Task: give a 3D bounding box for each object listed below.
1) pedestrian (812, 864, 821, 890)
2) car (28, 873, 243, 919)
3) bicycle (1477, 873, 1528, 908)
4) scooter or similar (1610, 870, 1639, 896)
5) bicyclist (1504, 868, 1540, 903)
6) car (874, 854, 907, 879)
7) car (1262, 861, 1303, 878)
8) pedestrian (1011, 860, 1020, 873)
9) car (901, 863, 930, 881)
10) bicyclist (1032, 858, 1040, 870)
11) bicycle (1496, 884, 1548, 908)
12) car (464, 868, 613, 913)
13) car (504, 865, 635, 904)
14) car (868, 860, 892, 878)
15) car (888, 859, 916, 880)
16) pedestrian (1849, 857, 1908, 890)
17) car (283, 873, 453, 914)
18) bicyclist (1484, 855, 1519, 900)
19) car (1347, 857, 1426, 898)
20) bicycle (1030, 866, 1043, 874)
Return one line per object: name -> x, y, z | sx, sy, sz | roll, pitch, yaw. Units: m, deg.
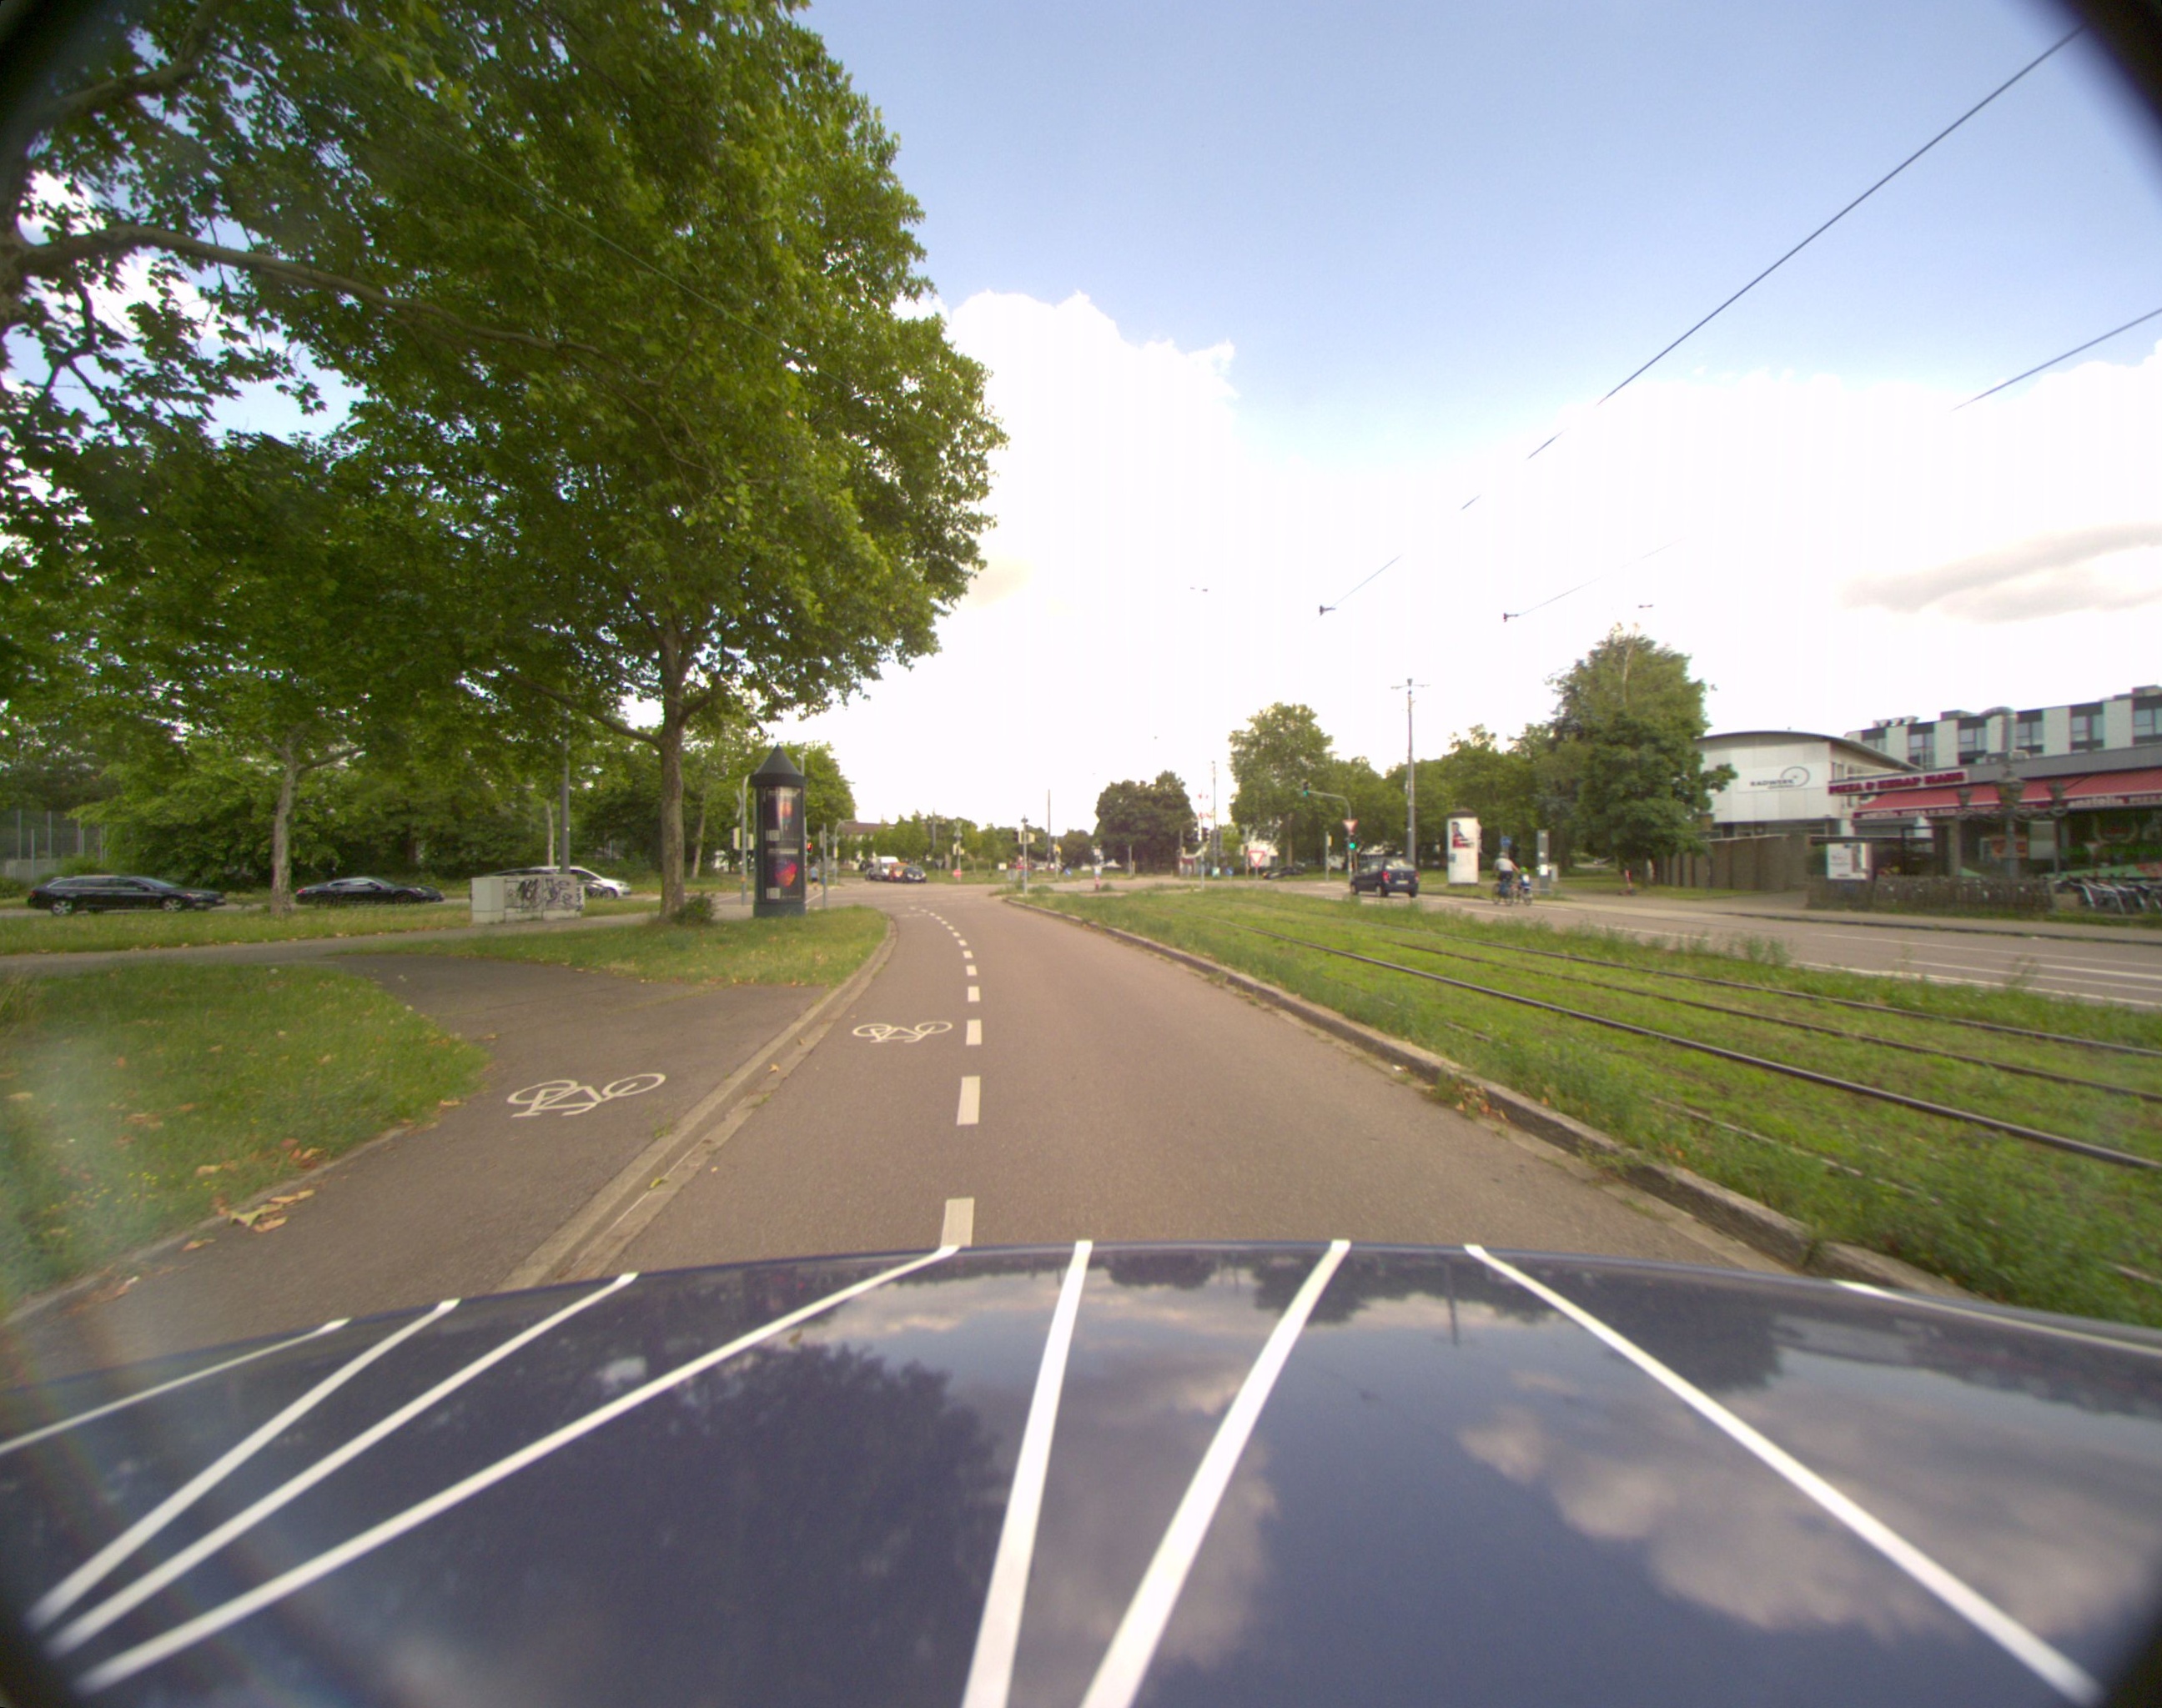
pedestrian -> -15.738, 1.357, 45.230 | 0.420, 1.499, 0.450 | -1, 0, -26
car -> -35.705, 1.527, 28.899 | 4.693, 1.504, 1.996 | 0, 1, -26
bicycle -> 13.995, 1.187, 25.283 | 0.647, 1.073, 1.804 | 0, 0, -2
scooter or similar -> 22.476, 1.189, 31.431 | 0.427, 1.027, 1.223 | -1, 0, 5
bicyclist -> 14.685, 1.037, 25.327 | 0.641, 1.106, 0.928 | 0, 0, -2
car -> -20.090, 1.267, 79.959 | 2.243, 2.492, 5.714 | -1, 0, -25
car -> 19.160, 1.488, 72.279 | 3.864, 1.514, 1.695 | 0, 0, -37
pedestrian -> -8.923, 1.696, 103.989 | 0.909, 1.856, 1.000 | -1, 0, -27
car -> -14.942, 1.634, 68.433 | 1.798, 1.530, 3.992 | -1, 0, -23
bicyclist -> -5.949, 1.324, 100.287 | 0.806, 1.461, 0.830 | -1, -2, -29
bicycle -> 14.689, 1.375, 25.346 | 0.647, 0.713, 1.804 | 0, 0, -2
car -> -22.169, 1.449, 31.320 | 4.693, 1.601, 1.996 | 0, 1, -25
car -> -23.339, 1.368, 34.913 | 4.693, 1.601, 1.996 | 0, 1, -26
car -> -22.515, 1.656, 85.142 | 1.798, 1.924, 4.360 | -1, 0, -25
car -> -17.471, 1.498, 73.972 | 1.798, 1.924, 4.360 | -1, 0, -24
pedestrian -> 28.458, 0.698, 27.138 | 1.156, 1.139, 0.931 | -1, 0, -4
car -> -29.463, 1.588, 31.644 | 4.756, 1.461, 1.996 | 0, 1, -26
bicyclist -> 13.998, 0.766, 25.297 | 0.625, 1.449, 0.928 | 0, 0, -2
car -> 12.831, 0.939, 32.169 | 1.783, 1.617, 3.494 | -1, 0, -3
bicycle -> -5.836, 2.095, 100.126 | 0.806, 1.053, 2.065 | -1, -2, -29
